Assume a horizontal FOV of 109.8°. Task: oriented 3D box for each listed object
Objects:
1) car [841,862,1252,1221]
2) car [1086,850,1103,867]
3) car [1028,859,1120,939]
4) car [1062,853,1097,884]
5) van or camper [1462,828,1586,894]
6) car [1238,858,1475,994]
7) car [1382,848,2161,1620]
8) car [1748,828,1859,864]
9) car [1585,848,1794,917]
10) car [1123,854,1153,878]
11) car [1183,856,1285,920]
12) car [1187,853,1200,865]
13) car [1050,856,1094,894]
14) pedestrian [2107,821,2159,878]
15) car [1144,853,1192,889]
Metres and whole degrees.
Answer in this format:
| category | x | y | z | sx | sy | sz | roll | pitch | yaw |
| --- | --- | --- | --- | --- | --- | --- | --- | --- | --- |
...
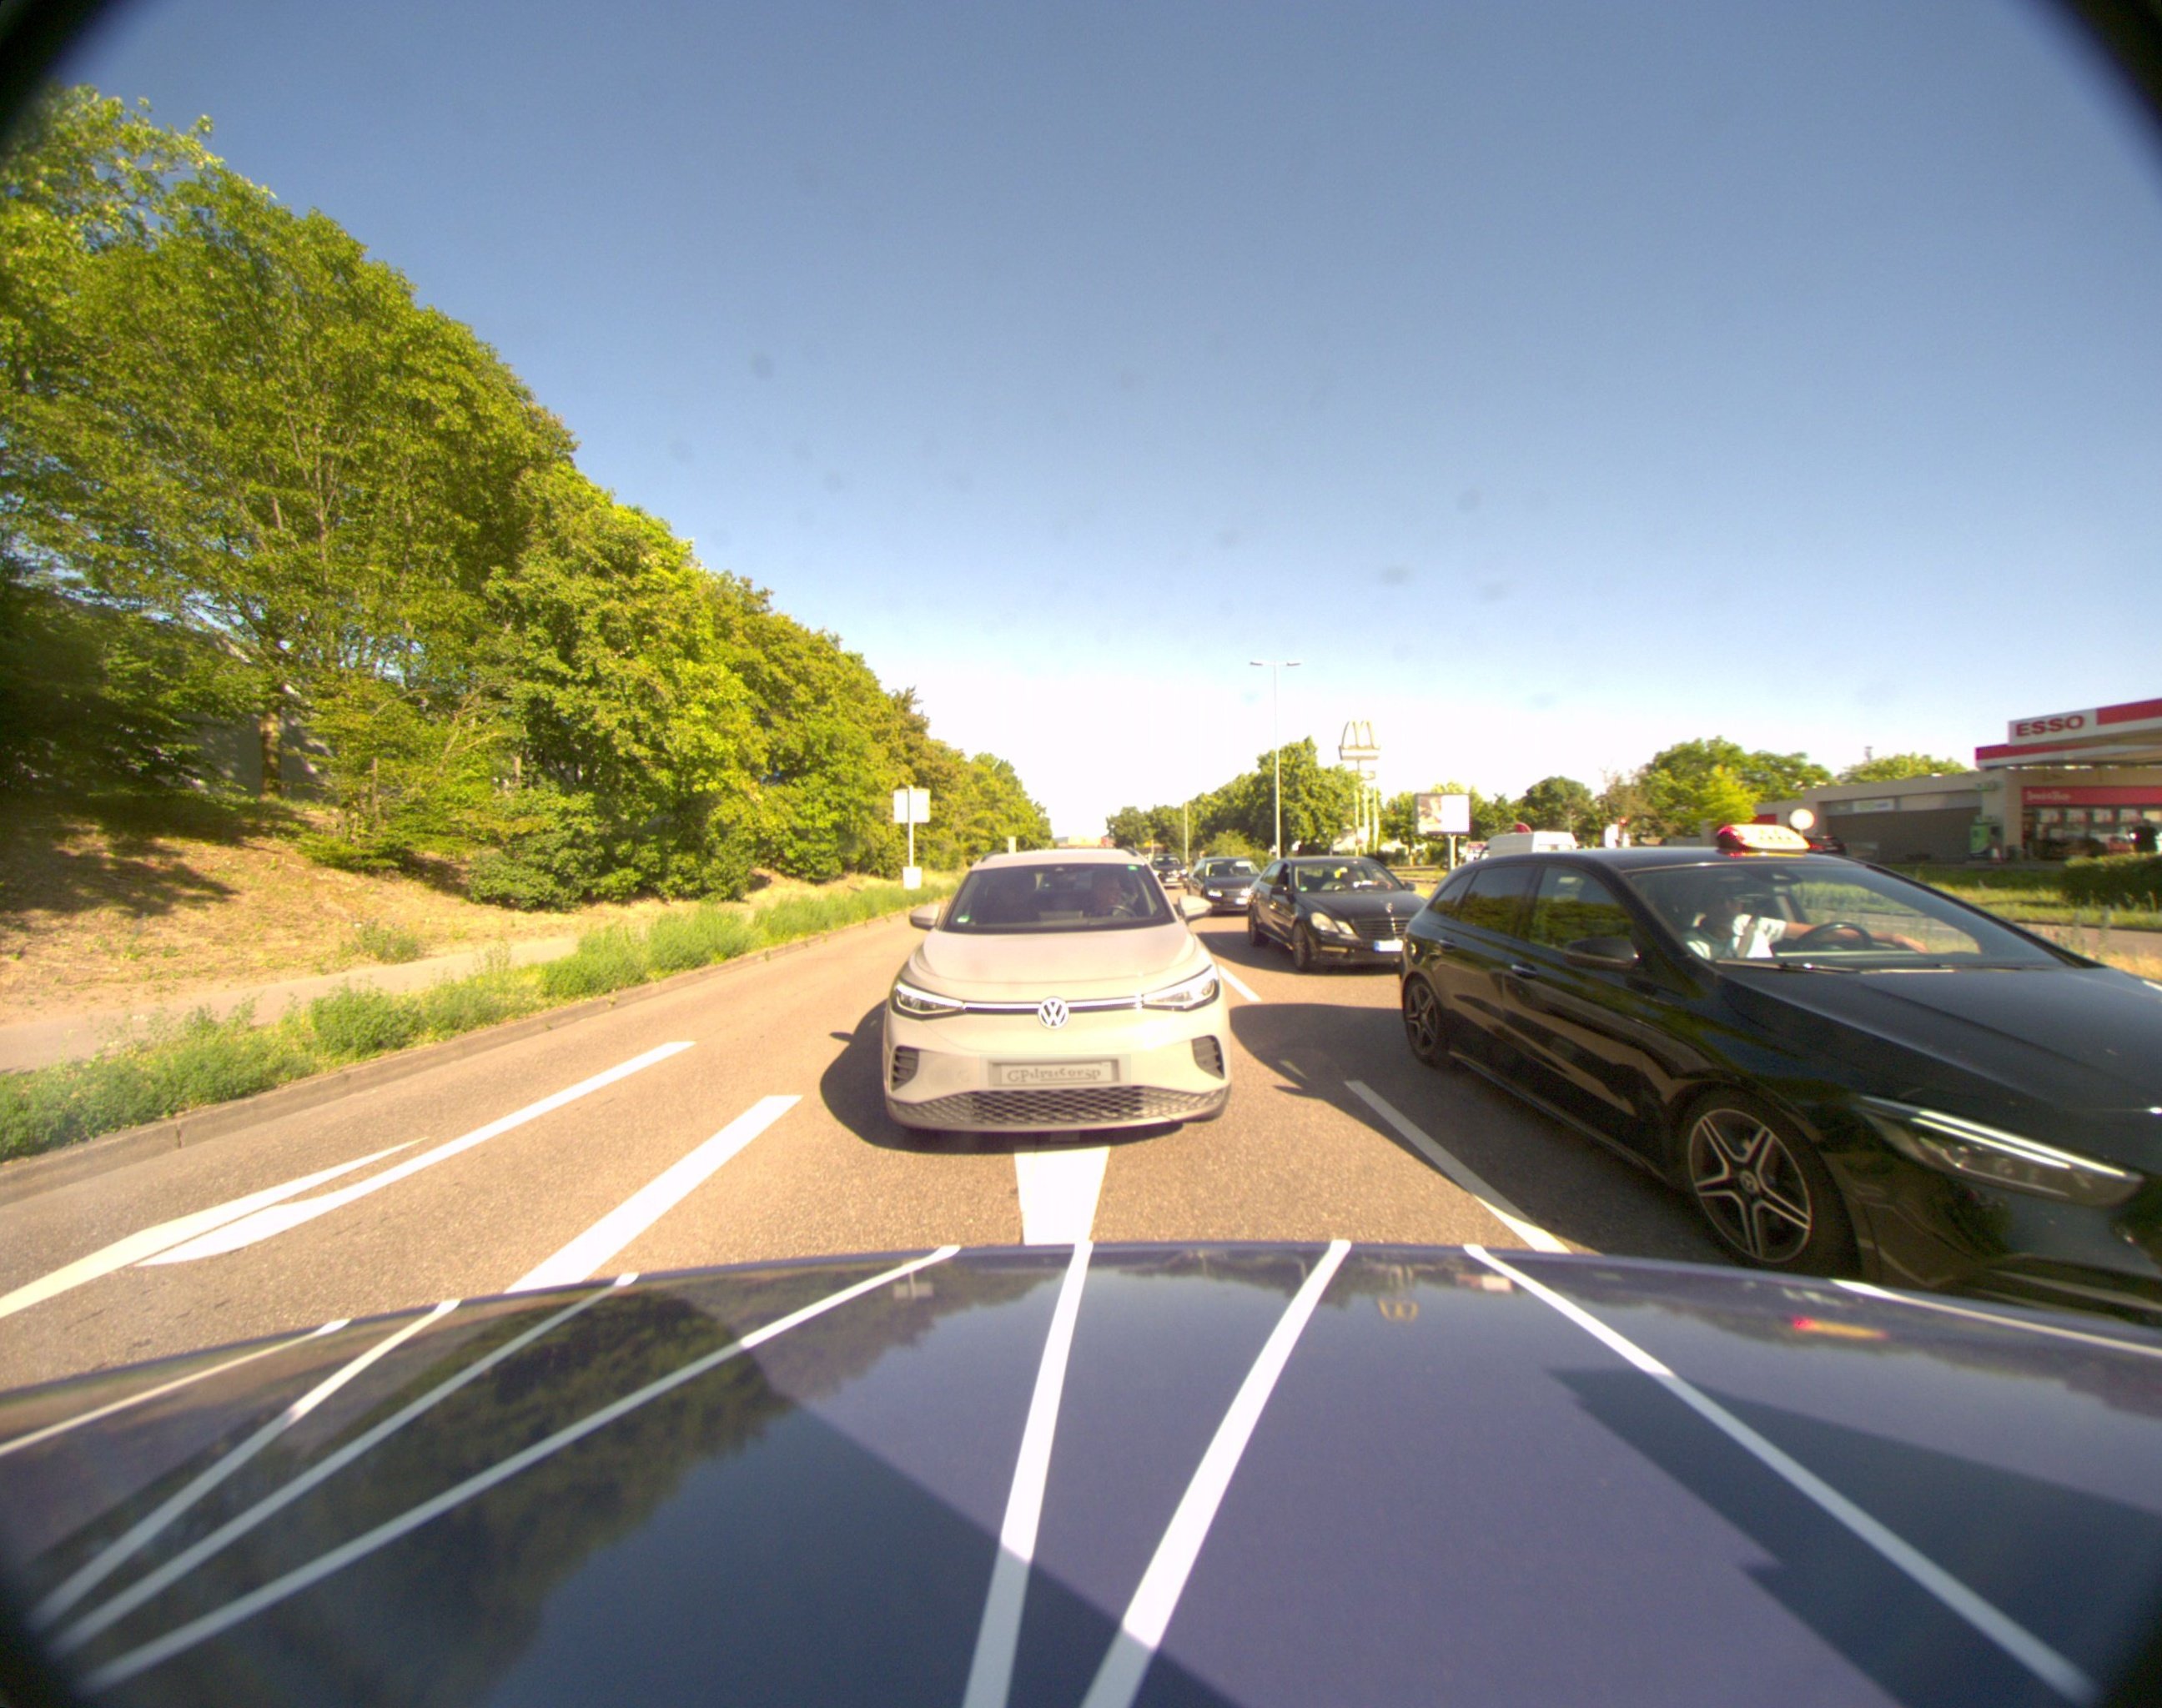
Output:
| category | x | y | z | sx | sy | sz | roll | pitch | yaw |
| --- | --- | --- | --- | --- | --- | --- | --- | --- | --- |
| car | -0.133 | 0.897 | 5.504 | 1.871 | 1.588 | 3.932 | -2 | 0 | 1 |
| car | 1.859 | 0.646 | 104.181 | 2.289 | 2.274 | 5.382 | -1 | 0 | 1 |
| car | -0.115 | 0.897 | 16.853 | 1.765 | 1.503 | 3.760 | -2 | 0 | 1 |
| car | -0.040 | 0.747 | 41.046 | 1.765 | 1.503 | 3.760 | -2 | 0 | 1 |
| van or camper | 19.552 | 0.284 | 33.974 | 1.999 | 2.635 | 5.956 | 1 | 0 | 0 |
| car | 3.640 | 0.848 | 10.992 | 1.862 | 1.515 | 4.403 | -1 | 0 | 1 |
| car | 3.156 | 0.806 | 3.684 | 1.804 | 1.616 | 4.188 | -1 | 0 | 2 |
| car | 37.693 | -0.403 | 39.789 | 1.998 | 1.759 | 4.118 | -2 | 0 | 2 |
| car | 16.517 | 0.705 | 21.028 | 1.999 | 1.643 | 4.613 | 1 | 0 | -1 |
| car | 3.990 | 0.795 | 53.634 | 1.862 | 1.578 | 4.403 | -1 | 0 | 1 |
| car | 3.943 | 0.826 | 20.262 | 1.862 | 1.472 | 4.403 | -1 | 0 | 1 |
| car | 19.959 | 0.885 | 134.881 | 1.998 | 2.002 | 4.001 | -2 | 1 | 5 |
| car | -0.347 | 0.886 | 33.290 | 1.765 | 1.503 | 3.760 | -2 | 0 | 1 |
| pedestrian | 38.314 | -0.158 | 27.680 | 0.703 | 2.002 | 0.840 | -1 | 0 | 1 |
| car | 4.115 | 0.771 | 36.601 | 1.862 | 1.578 | 4.403 | -1 | 0 | 1 |
